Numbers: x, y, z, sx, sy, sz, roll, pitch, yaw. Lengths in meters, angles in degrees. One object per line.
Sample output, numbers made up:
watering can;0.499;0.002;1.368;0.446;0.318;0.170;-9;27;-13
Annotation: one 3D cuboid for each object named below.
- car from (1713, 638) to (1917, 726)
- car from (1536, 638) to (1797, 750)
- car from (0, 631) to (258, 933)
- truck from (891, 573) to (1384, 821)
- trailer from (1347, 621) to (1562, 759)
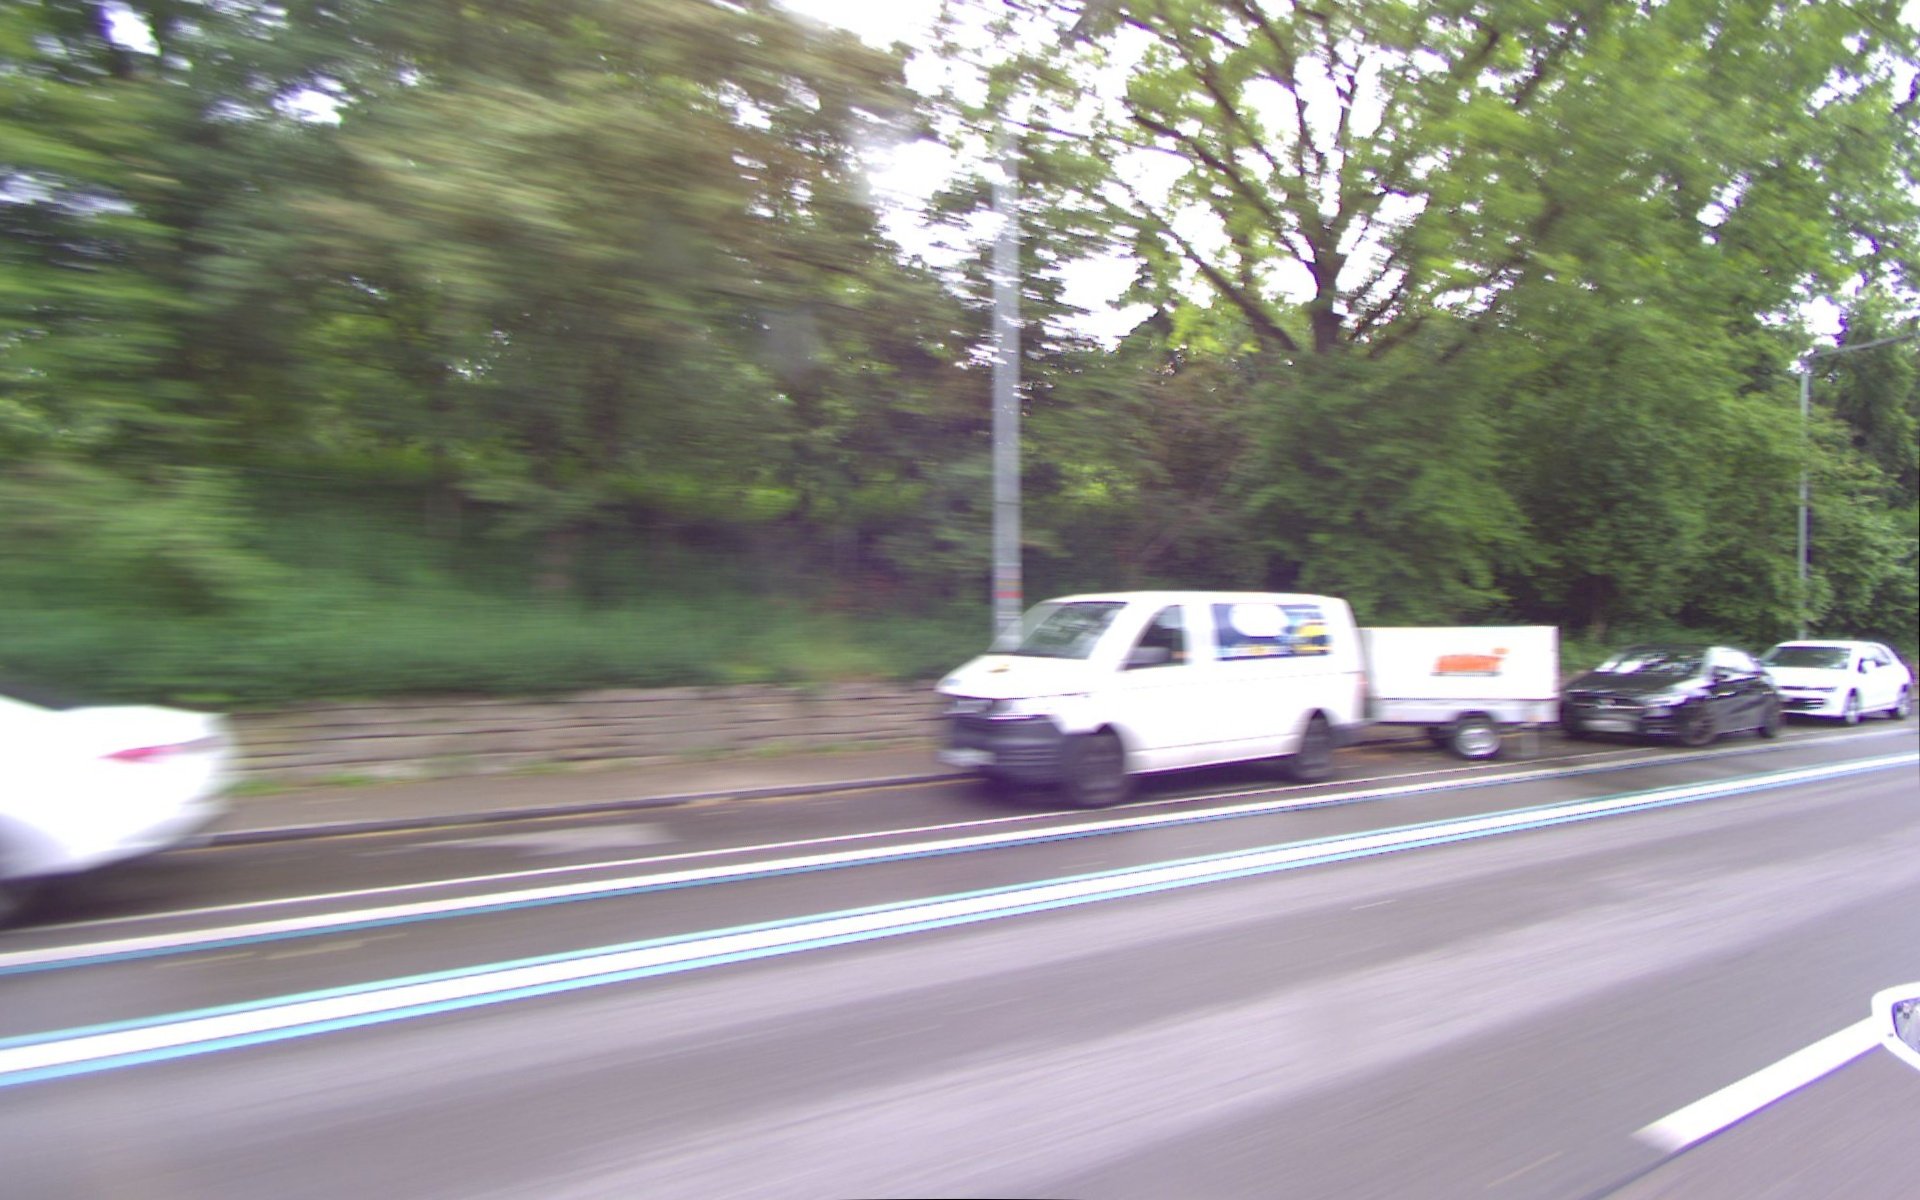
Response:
car;16.273;1.478;19.079;4.308;1.454;1.745;1;-1;-32
car;10.847;1.322;15.334;4.398;1.417;1.810;1;-1;-34
car;-6.553;0.906;5.107;4.698;1.518;1.798;2;-2;-31
truck;2.000;0.851;10.565;5.104;2.040;2.081;1;-1;-33
trailer;6.395;1.120;13.174;2.220;1.679;1.352;0;-1;8
